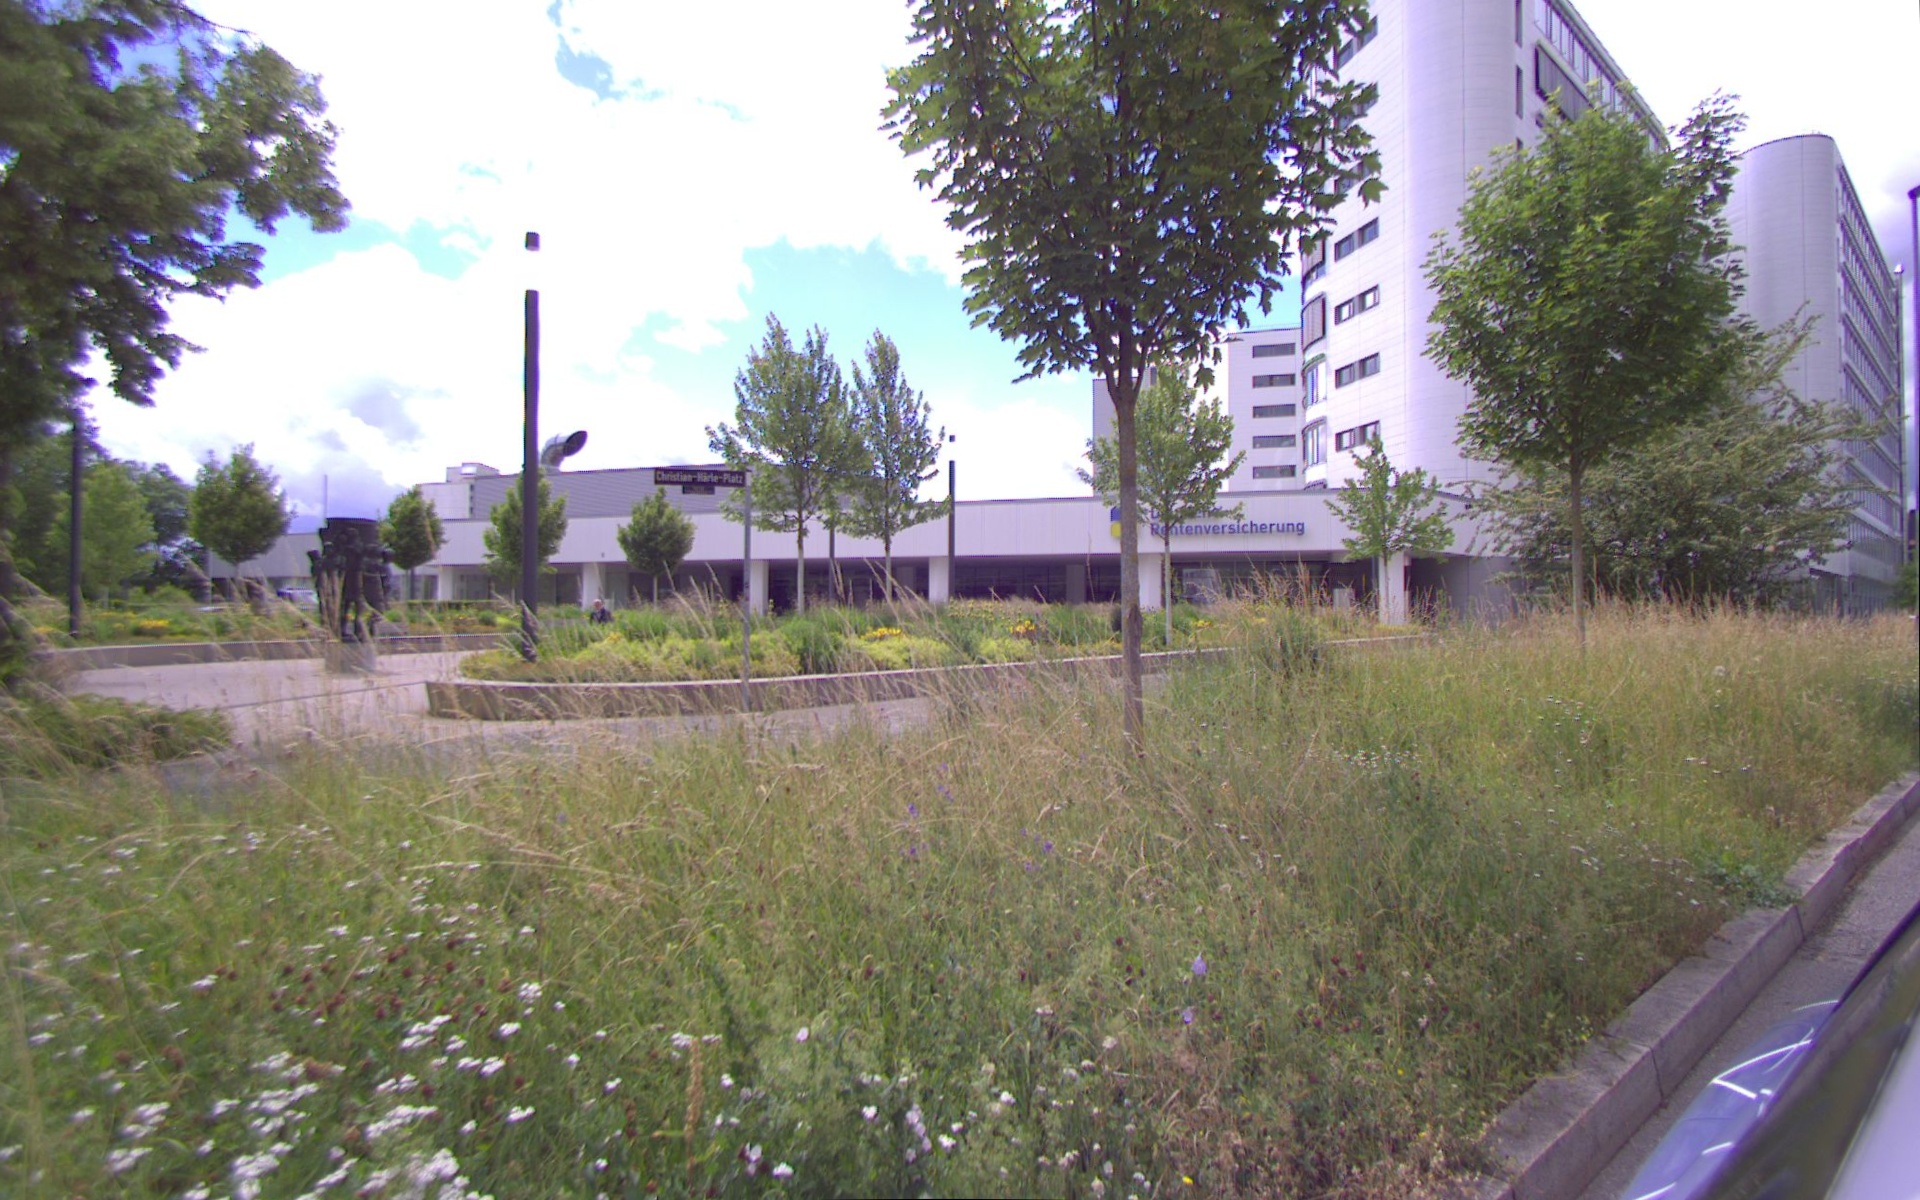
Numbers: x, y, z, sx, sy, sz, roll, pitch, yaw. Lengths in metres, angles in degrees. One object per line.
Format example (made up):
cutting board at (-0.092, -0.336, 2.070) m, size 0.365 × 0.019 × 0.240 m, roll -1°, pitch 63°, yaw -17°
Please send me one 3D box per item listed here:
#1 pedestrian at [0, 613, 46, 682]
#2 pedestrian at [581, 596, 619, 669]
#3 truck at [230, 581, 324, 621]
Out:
pedestrian at (-17.368, 0.865, 18.709) m, size 0.621 × 1.238 × 0.620 m, roll 1°, pitch 0°, yaw -36°
pedestrian at (-8.406, 0.742, 23.601) m, size 0.756 × 1.646 × 0.766 m, roll 1°, pitch 0°, yaw -24°
truck at (-36.140, 0.067, 53.568) m, size 3.941 × 2.039 × 1.991 m, roll 1°, pitch 0°, yaw 14°
